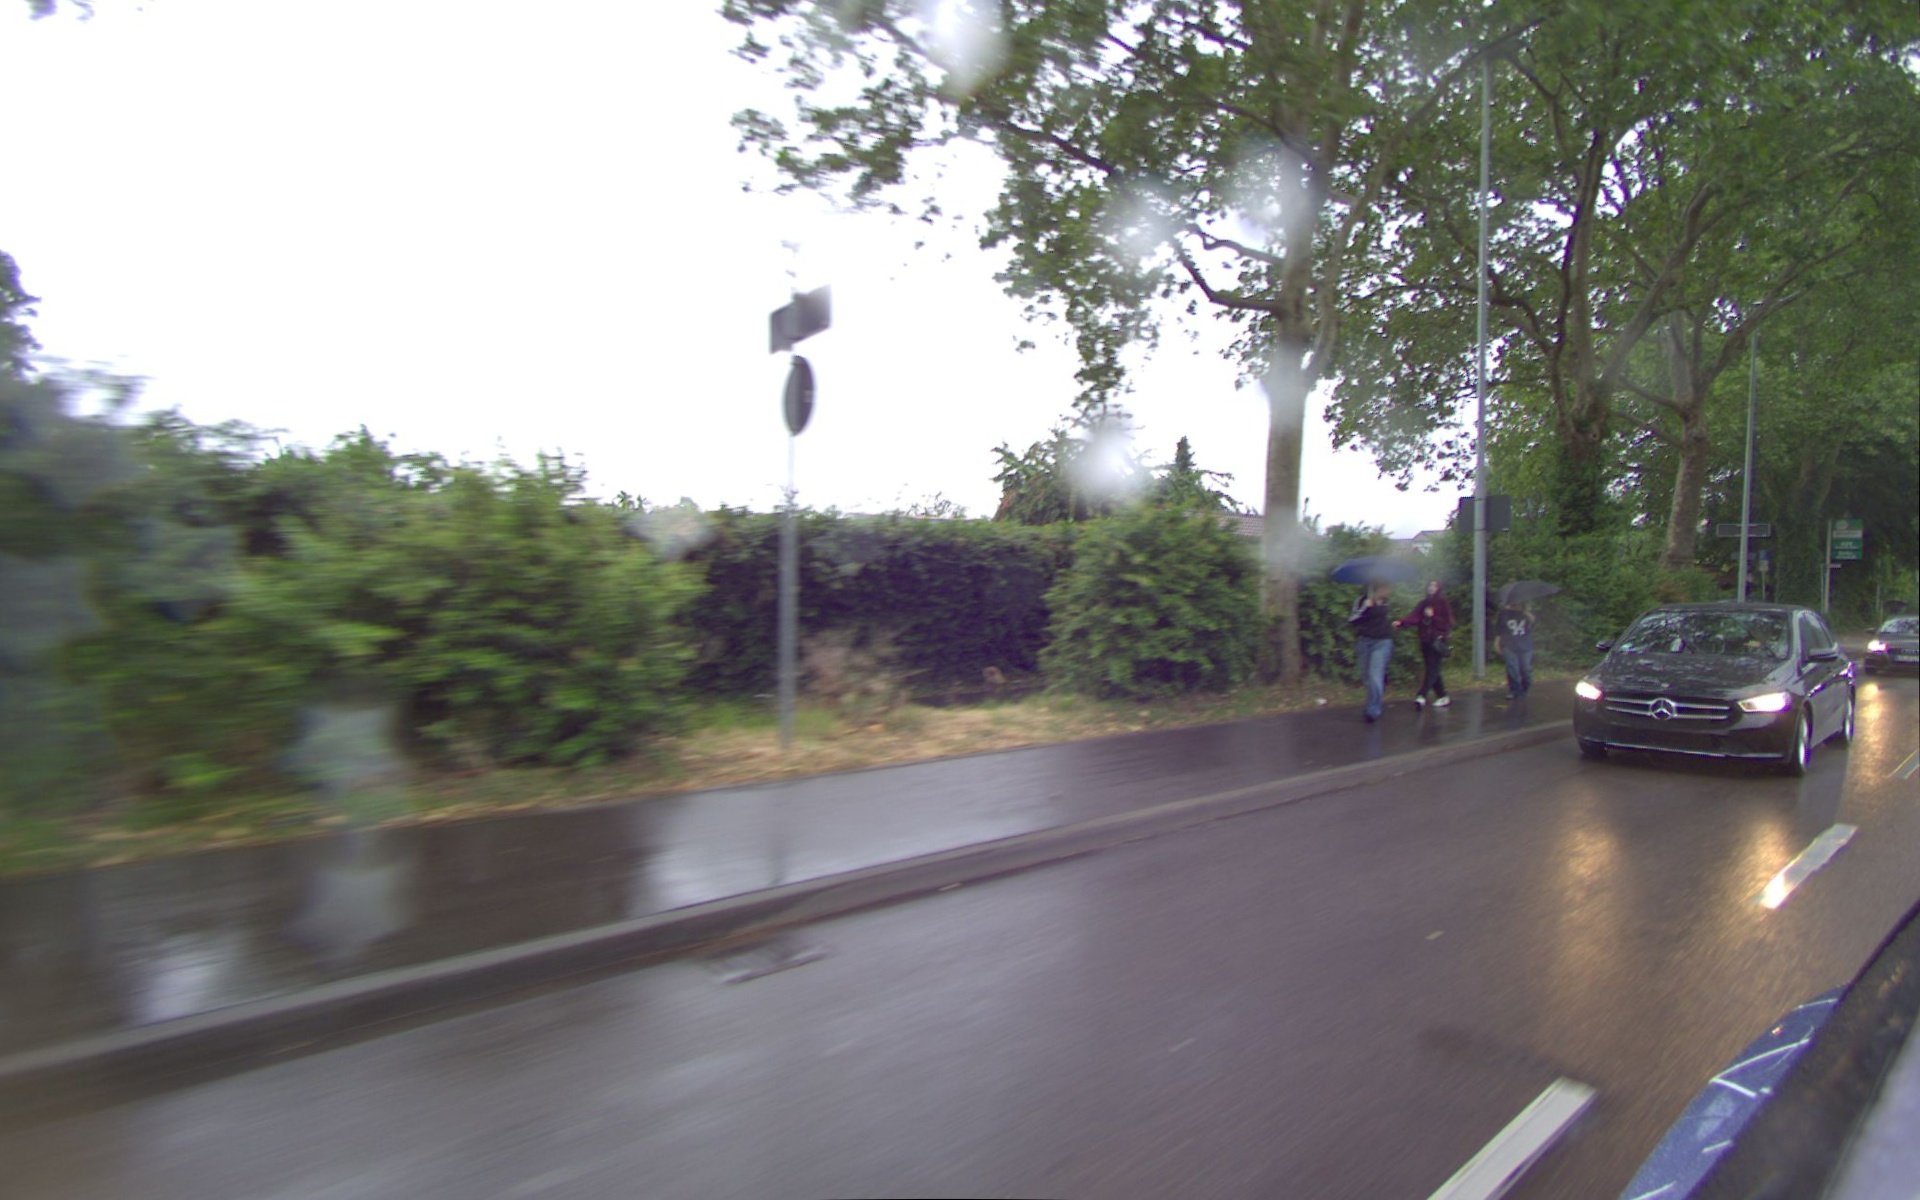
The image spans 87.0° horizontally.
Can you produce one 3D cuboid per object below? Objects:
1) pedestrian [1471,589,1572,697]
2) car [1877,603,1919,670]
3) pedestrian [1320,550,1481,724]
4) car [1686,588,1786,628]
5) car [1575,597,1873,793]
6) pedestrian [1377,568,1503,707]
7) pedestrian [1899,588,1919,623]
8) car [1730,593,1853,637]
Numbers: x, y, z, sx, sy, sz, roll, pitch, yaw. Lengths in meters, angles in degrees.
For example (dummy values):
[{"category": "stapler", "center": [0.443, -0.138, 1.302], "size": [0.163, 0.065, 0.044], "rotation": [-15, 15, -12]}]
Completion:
[{"category": "pedestrian", "center": [7.887, 0.567, 14.222], "size": [0.998, 1.407, 0.894], "rotation": [0, 3, -41]}, {"category": "car", "center": [22.279, 0.791, 23.085], "size": [3.717, 1.402, 1.640], "rotation": [-1, 0, -42]}, {"category": "pedestrian", "center": [4.921, 0.359, 11.334], "size": [1.127, 1.808, 1.242], "rotation": [0, 2, -41]}, {"category": "car", "center": [33.742, 0.322, 44.042], "size": [3.375, 1.629, 1.635], "rotation": [1, -1, 40]}, {"category": "car", "center": [7.869, 0.754, 10.248], "size": [4.350, 1.549, 1.817], "rotation": [0, 0, -45]}, {"category": "pedestrian", "center": [5.997, 0.426, 12.635], "size": [1.271, 1.608, 0.949], "rotation": [0, 2, -41]}, {"category": "pedestrian", "center": [48.476, 0.289, 51.444], "size": [1.121, 1.724, 0.968], "rotation": [1, -2, -42]}, {"category": "car", "center": [30.683, 0.534, 37.383], "size": [1.631, 1.516, 3.382], "rotation": [2, -1, -45]}]
